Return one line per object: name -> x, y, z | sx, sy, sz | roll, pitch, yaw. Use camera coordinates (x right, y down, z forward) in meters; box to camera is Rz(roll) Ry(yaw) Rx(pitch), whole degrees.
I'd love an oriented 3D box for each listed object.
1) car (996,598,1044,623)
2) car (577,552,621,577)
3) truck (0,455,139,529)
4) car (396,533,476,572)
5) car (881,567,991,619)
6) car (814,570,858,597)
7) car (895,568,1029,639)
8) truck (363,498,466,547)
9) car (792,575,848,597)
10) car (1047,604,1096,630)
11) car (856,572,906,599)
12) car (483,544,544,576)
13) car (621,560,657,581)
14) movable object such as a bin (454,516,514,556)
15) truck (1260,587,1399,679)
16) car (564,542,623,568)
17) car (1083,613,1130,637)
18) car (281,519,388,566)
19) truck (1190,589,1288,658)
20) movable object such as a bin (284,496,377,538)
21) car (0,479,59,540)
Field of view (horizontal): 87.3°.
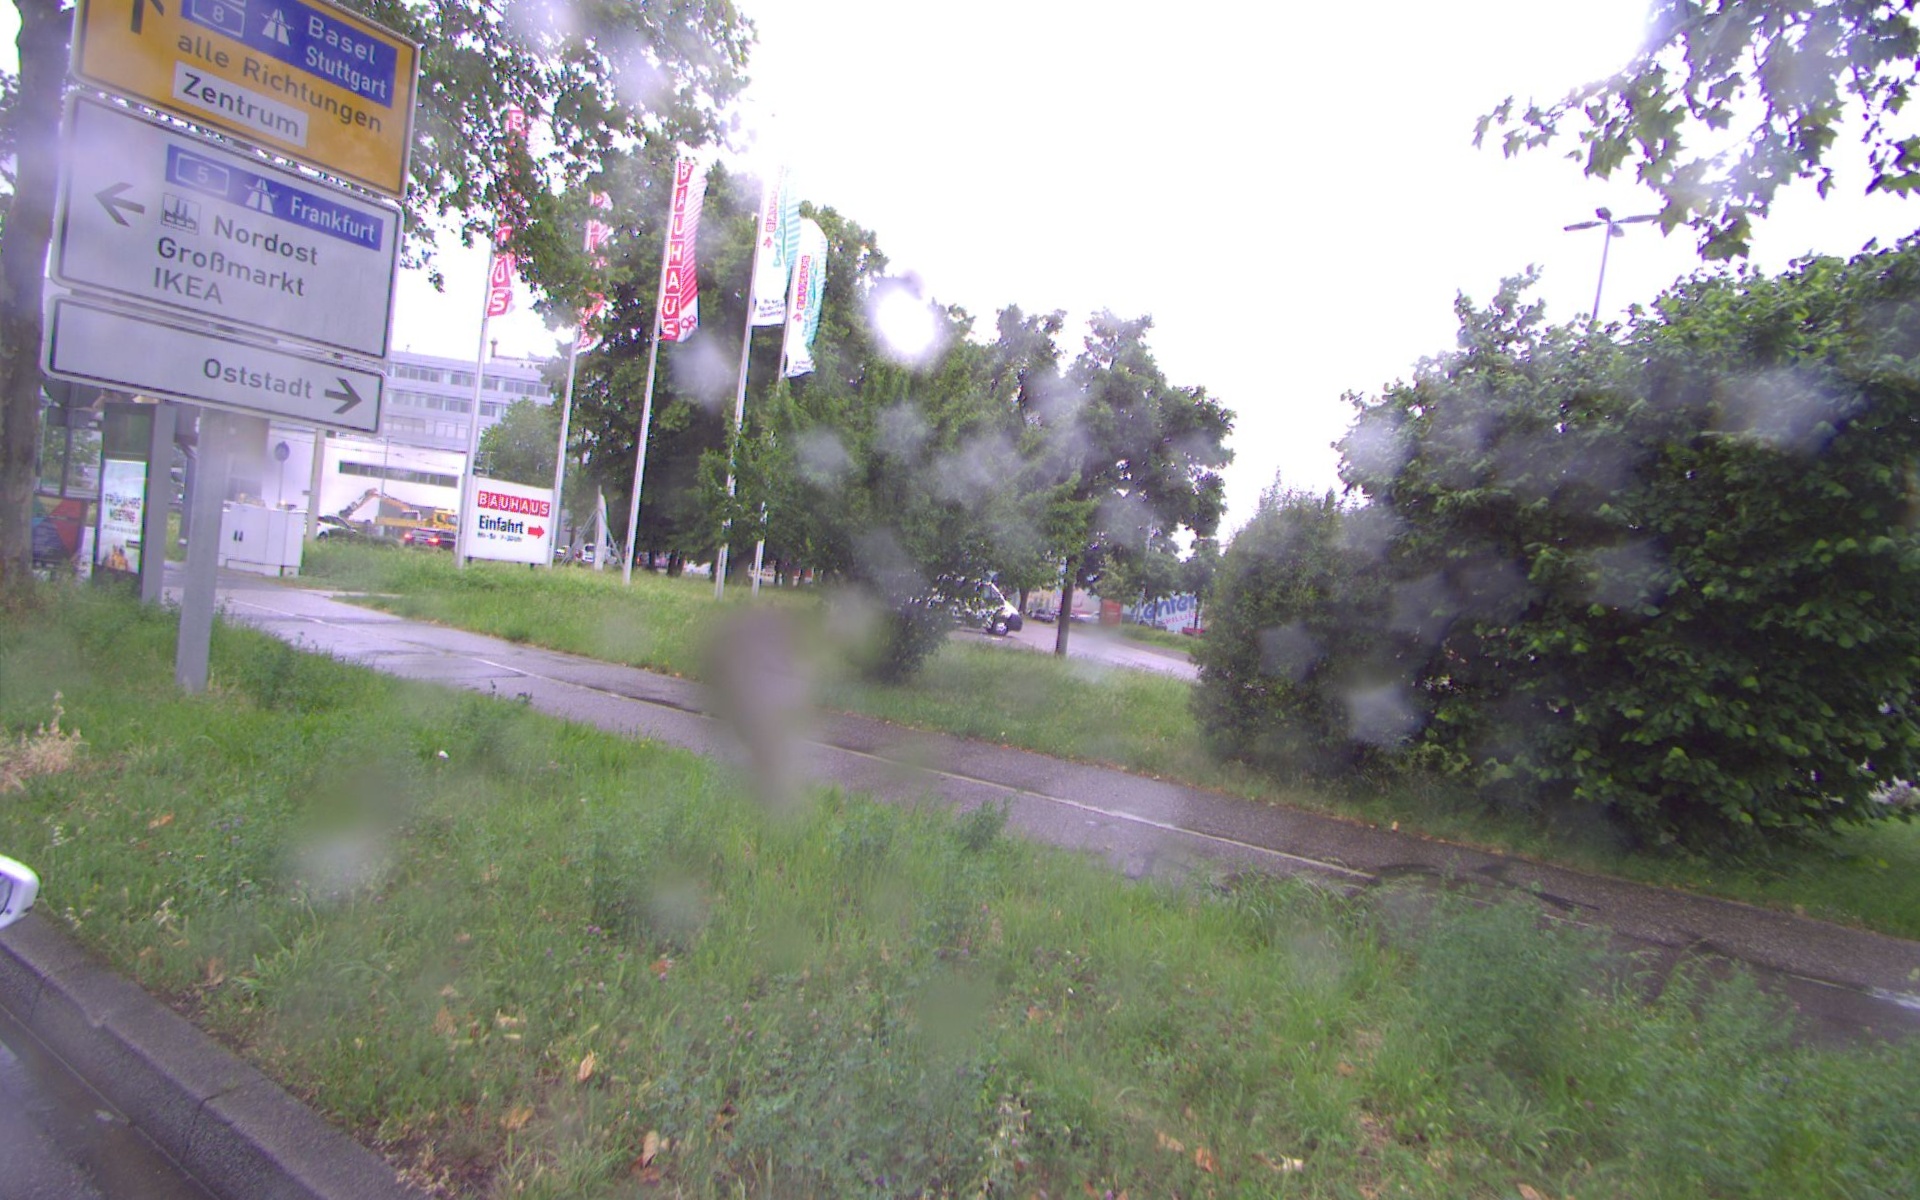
car -> 6.254, 1.092, 105.485 | 4.615, 2.039, 1.998 | 7, 1, -3
car -> -28.086, -2.724, 78.458 | 1.892, 1.606, 4.623 | 6, 0, -4
truck -> -37.986, -4.500, 41.718 | 2.438, 2.394, 6.861 | 7, 0, -4
car -> -27.328, -2.433, 52.661 | 1.893, 1.606, 4.622 | 6, 0, -4
car -> -1.393, -0.411, 57.649 | 5.955, 2.232, 2.190 | 7, 1, -2
car -> -12.626, -1.683, 102.587 | 4.210, 2.075, 1.762 | 8, 1, -7
car -> 0.023, 0.142, 40.924 | 5.015, 2.232, 2.188 | 7, 1, -9
truck -> -52.678, -7.440, 97.339 | 7.747, 3.552, 3.325 | 7, 1, -4
car -> -15.419, -1.586, 111.074 | 5.853, 1.754, 2.276 | 6, 1, -3
car -> 11.300, 1.770, 101.784 | 4.612, 2.038, 2.001 | 7, 0, 3
car -> -7.860, -1.448, 100.598 | 4.670, 2.241, 1.964 | 6, 1, -2
car -> -27.903, -2.470, 63.037 | 1.892, 1.606, 4.623 | 6, 0, -4
car -> -29.569, -2.691, 92.822 | 1.892, 1.606, 4.623 | 6, 0, -4
movable object such as a bin -> -50.184, -6.723, 106.158 | 3.268, 3.552, 6.316 | 6, 1, -3
truck -> 16.713, 1.335, 46.240 | 2.508, 3.513, 8.008 | 8, 0, -4
car -> -35.819, -4.397, 98.460 | 4.969, 1.674, 1.882 | 8, -2, -3
car -> 15.577, 2.672, 107.368 | 4.612, 2.038, 2.001 | 7, 0, 3
car -> -27.346, -2.469, 44.206 | 1.892, 1.606, 4.623 | 6, 0, -3
truck -> 16.520, 1.329, 60.289 | 2.507, 3.511, 9.397 | 8, 0, -2
movable object such as a bin -> -60.592, -7.925, 97.016 | 6.601, 3.034, 3.324 | 7, 1, -4
car -> -26.362, -2.552, 25.924 | 1.892, 1.509, 4.828 | 6, 0, -1
